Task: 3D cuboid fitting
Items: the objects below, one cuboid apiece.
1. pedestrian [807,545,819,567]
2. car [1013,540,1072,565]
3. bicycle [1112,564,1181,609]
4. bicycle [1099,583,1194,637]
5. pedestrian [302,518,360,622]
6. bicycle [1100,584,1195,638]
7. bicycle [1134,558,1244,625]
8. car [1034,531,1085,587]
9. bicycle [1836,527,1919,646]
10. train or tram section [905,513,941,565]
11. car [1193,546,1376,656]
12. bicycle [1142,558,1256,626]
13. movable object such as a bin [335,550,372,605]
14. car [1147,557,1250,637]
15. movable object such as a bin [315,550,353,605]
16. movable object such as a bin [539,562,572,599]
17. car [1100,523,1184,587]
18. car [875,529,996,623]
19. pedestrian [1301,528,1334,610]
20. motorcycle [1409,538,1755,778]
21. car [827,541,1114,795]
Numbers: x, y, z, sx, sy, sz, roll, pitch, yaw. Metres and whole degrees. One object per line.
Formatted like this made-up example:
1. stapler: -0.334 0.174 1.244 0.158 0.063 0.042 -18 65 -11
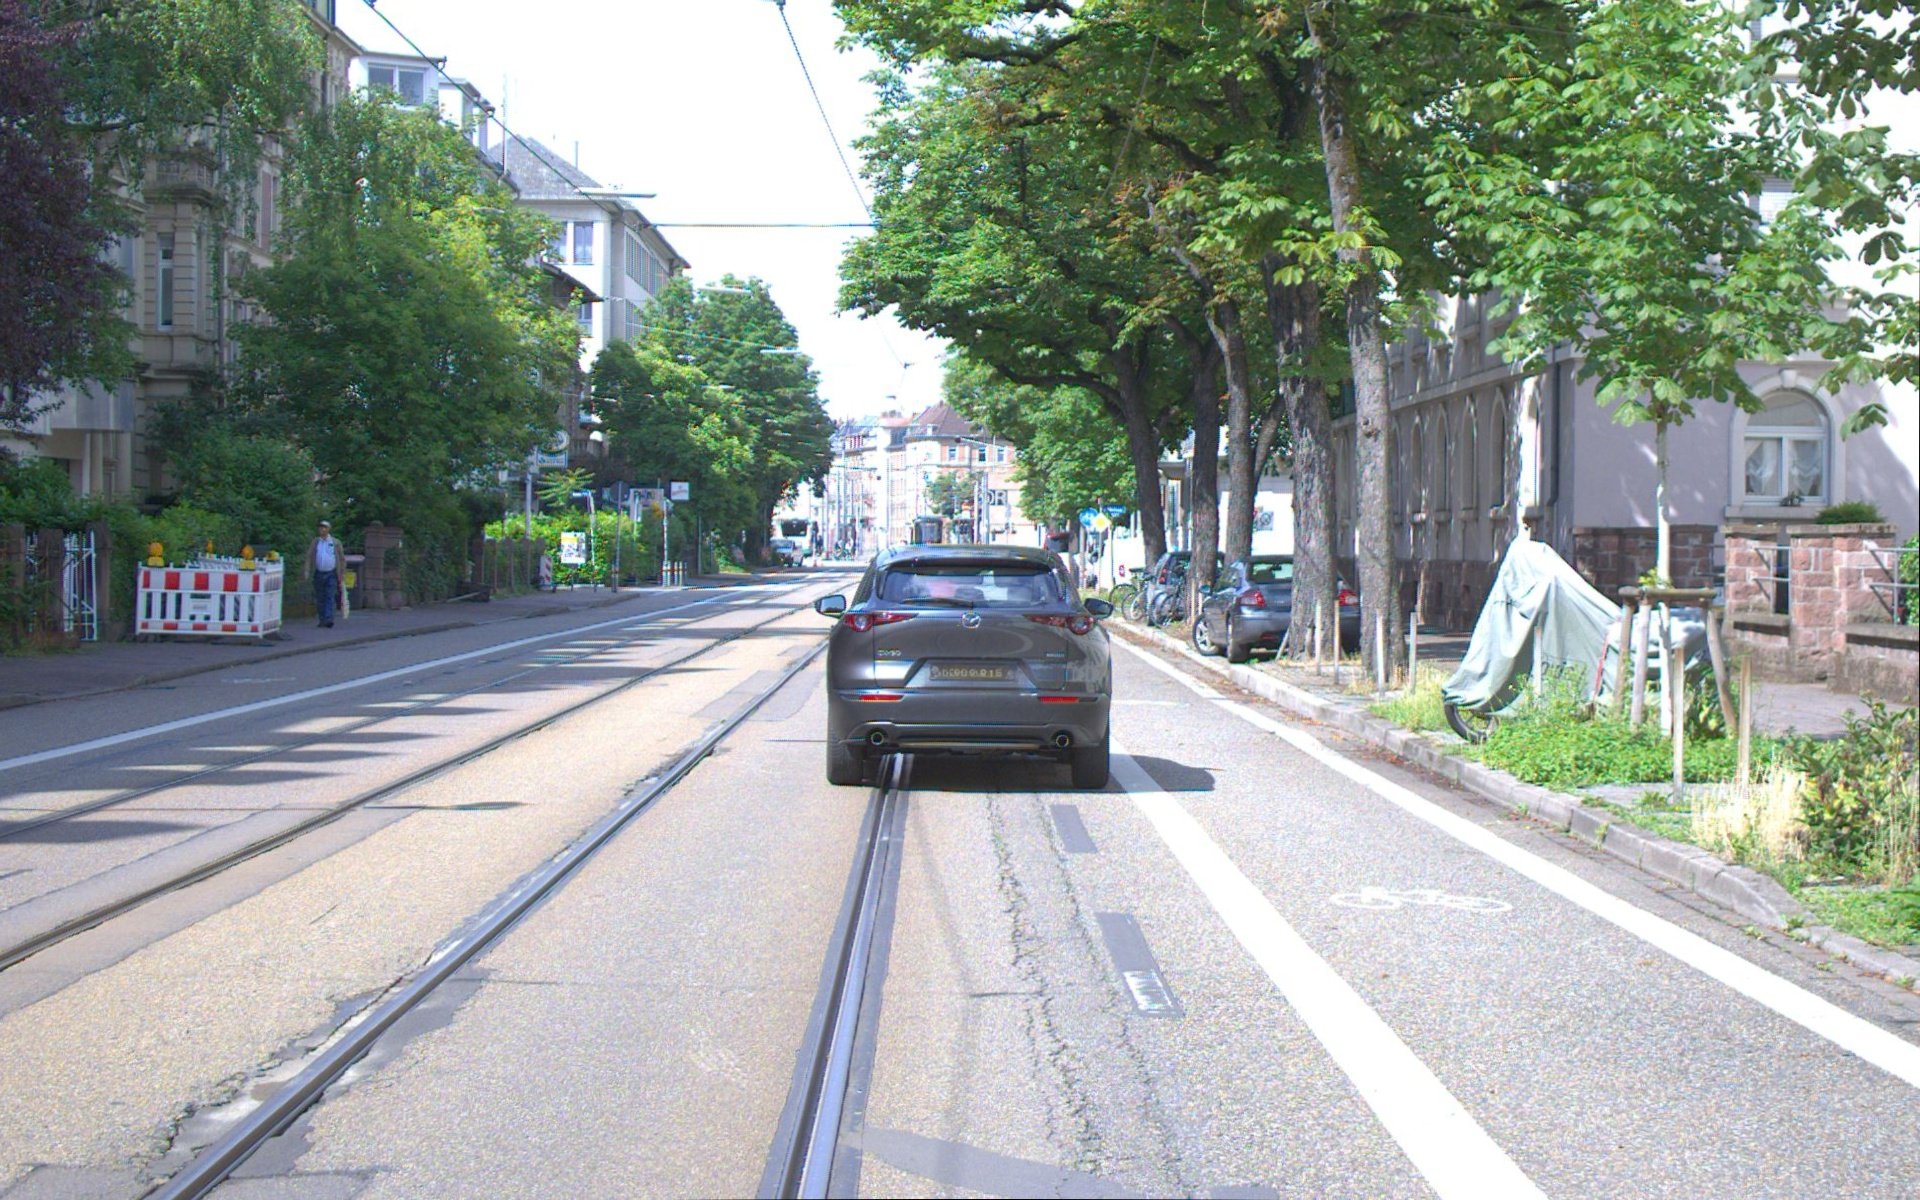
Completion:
1. pedestrian: -10.135 -3.035 237.418 0.751 1.505 0.824 1 1 -4
2. car: 5.975 -3.471 248.920 3.805 1.612 1.638 3 1 -18
3. bicycle: 4.046 -0.300 74.759 1.491 0.980 0.259 0 0 2
4. bicycle: 3.821 0.196 70.380 1.903 1.068 0.402 1 1 0
5. pedestrian: -10.414 -0.495 56.963 0.822 1.700 0.891 1 1 -3
6. bicycle: 3.812 0.218 69.883 1.903 1.068 0.402 1 1 0
7. bicycle: 4.064 -0.151 60.966 1.895 1.172 0.513 0 0 12
8. car: 3.545 -1.483 123.571 1.720 1.962 4.207 1 1 0
9. bicycle: 9.525 -0.150 35.713 0.412 1.207 1.704 1 1 0
10. train or tram section: -2.753 -4.521 256.150 2.571 3.760 13.027 1 1 -1
11. car: 4.435 -0.018 47.560 1.846 1.404 4.395 -1 1 -3
12. bicycle: 4.196 -0.136 60.382 1.938 1.172 0.513 0 0 12
13. movable object such as a bin: -12.143 -0.463 68.858 0.538 1.090 0.789 1 1 5
14. car: 4.504 -0.082 65.341 1.666 1.425 3.766 -1 1 0
15. movable object such as a bin: -12.584 -0.455 69.110 0.549 1.104 0.789 1 1 5
16. movable object such as a bin: -11.246 -0.553 95.502 0.745 0.984 1.114 3 1 0
17. car: 5.637 -1.424 106.941 1.786 1.932 4.992 0 1 -6
18. car: -0.442 -0.446 61.132 1.993 1.523 4.000 3 1 -1
19. pedestrian: 8.043 -0.698 77.401 0.610 1.829 0.879 0 -1 -2
20. motorcycle: 4.502 0.392 25.020 2.385 1.592 0.677 4 2 39
21. car: 0.044 0.381 22.631 1.720 1.521 3.590 1 1 -1
